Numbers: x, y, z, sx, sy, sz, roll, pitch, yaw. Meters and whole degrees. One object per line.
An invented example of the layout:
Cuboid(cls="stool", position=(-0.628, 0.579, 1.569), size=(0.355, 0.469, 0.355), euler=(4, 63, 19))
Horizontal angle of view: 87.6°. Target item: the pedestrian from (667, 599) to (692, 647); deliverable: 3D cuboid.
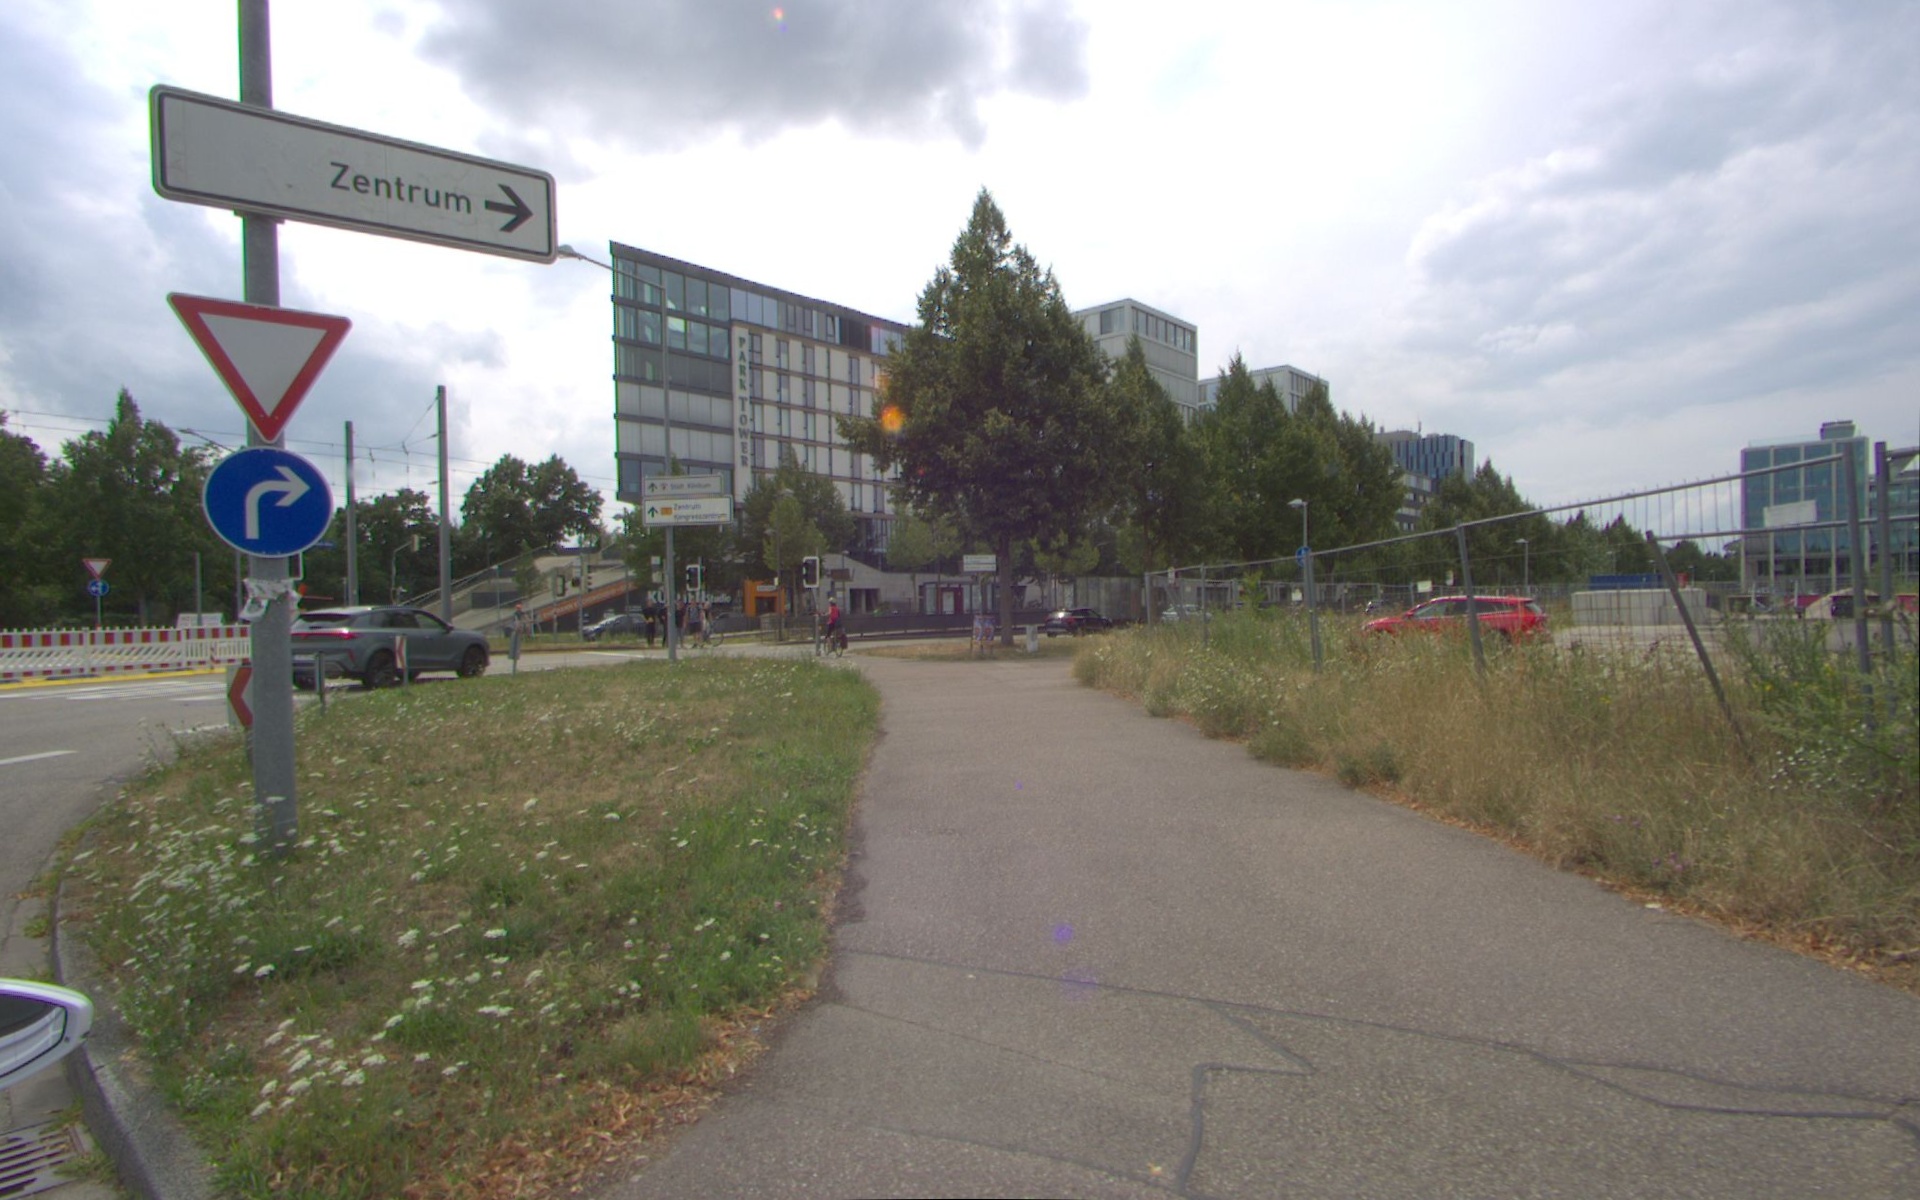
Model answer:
Cuboid(cls="pedestrian", position=(-10.581, 0.866, 37.766), size=(0.546, 1.805, 0.686), euler=(0, 1, 36))

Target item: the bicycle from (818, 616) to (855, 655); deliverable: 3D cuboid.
Cuboid(cls="bicycle", position=(-4.063, 1.145, 32.802), size=(0.778, 1.183, 2.036), euler=(-1, 0, -19))

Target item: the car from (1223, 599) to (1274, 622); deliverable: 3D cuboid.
Cuboid(cls="car", position=(20.286, 0.714, 70.328), size=(1.714, 1.554, 4.333), euler=(0, 0, 43))

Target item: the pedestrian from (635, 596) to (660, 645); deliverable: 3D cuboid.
Cuboid(cls="pedestrian", position=(-11.653, 0.760, 37.348), size=(0.546, 1.805, 0.686), euler=(0, 1, 36))

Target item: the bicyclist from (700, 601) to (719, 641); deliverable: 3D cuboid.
Cuboid(cls="bicyclist", position=(-10.065, 0.841, 40.163), size=(0.552, 1.601, 0.761), euler=(0, 0, -30))

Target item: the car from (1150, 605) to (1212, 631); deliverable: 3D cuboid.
Cuboid(cls="car", position=(13.706, 1.090, 61.961), size=(4.219, 1.482, 1.812), euler=(0, 0, -45))

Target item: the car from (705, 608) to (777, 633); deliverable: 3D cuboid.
Cuboid(cls="car", position=(-13.266, 1.234, 60.828), size=(1.829, 1.477, 3.964), euler=(0, 0, 43))

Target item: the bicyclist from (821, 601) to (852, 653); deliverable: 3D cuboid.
Cuboid(cls="bicyclist", position=(-4.044, 0.859, 32.718), size=(0.778, 1.649, 1.046), euler=(-1, 1, -20))

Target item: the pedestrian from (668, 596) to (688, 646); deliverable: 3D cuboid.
Cuboid(cls="pedestrian", position=(-10.852, 0.801, 38.572), size=(0.546, 1.887, 0.528), euler=(0, 1, 36))

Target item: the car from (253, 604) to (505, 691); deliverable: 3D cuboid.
Cuboid(cls="car", position=(-11.630, 0.877, 20.484), size=(2.025, 1.572, 4.472), euler=(-1, 0, 11))

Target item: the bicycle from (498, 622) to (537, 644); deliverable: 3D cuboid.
Cuboid(cls="bicycle", position=(-20.463, 1.514, 46.333), size=(1.727, 1.020, 0.652), euler=(0, 0, 25))

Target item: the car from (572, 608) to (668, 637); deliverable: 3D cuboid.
Cuboid(cls="car", position=(-18.585, 1.217, 54.898), size=(1.828, 1.477, 4.697), euler=(0, 0, 43))

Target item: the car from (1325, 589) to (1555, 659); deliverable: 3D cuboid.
Cuboid(cls="car", position=(12.176, 0.602, 25.590), size=(5.071, 1.625, 1.778), euler=(-1, 0, 36))

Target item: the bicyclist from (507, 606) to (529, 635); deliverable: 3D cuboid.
Cuboid(cls="bicyclist", position=(-20.445, 0.946, 46.329), size=(0.664, 1.334, 0.638), euler=(0, 0, 23))

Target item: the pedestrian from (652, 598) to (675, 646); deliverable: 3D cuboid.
Cuboid(cls="pedestrian", position=(-11.237, 0.843, 37.943), size=(0.546, 1.805, 0.629), euler=(0, 1, 36))

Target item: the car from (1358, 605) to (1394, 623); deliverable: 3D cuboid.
Cuboid(cls="car", position=(35.853, 1.176, 86.335), size=(1.780, 1.517, 4.085), euler=(0, 0, 39))

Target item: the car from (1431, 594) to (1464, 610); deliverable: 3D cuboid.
Cuboid(cls="car", position=(47.332, 0.160, 97.231), size=(1.782, 1.517, 4.224), euler=(0, 0, 42))

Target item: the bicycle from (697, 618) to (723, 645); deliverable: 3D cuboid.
Cuboid(cls="bicycle", position=(-10.017, 1.251, 40.101), size=(0.541, 1.072, 1.704), euler=(0, 0, -30))

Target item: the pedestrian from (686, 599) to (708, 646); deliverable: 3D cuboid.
Cuboid(cls="pedestrian", position=(-10.076, 0.854, 38.341), size=(0.546, 1.805, 0.577), euler=(0, 1, 36))

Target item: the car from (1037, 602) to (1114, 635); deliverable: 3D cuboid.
Cuboid(cls="car", position=(5.738, 0.903, 49.271), size=(1.722, 1.539, 4.111), euler=(0, 0, 42))
